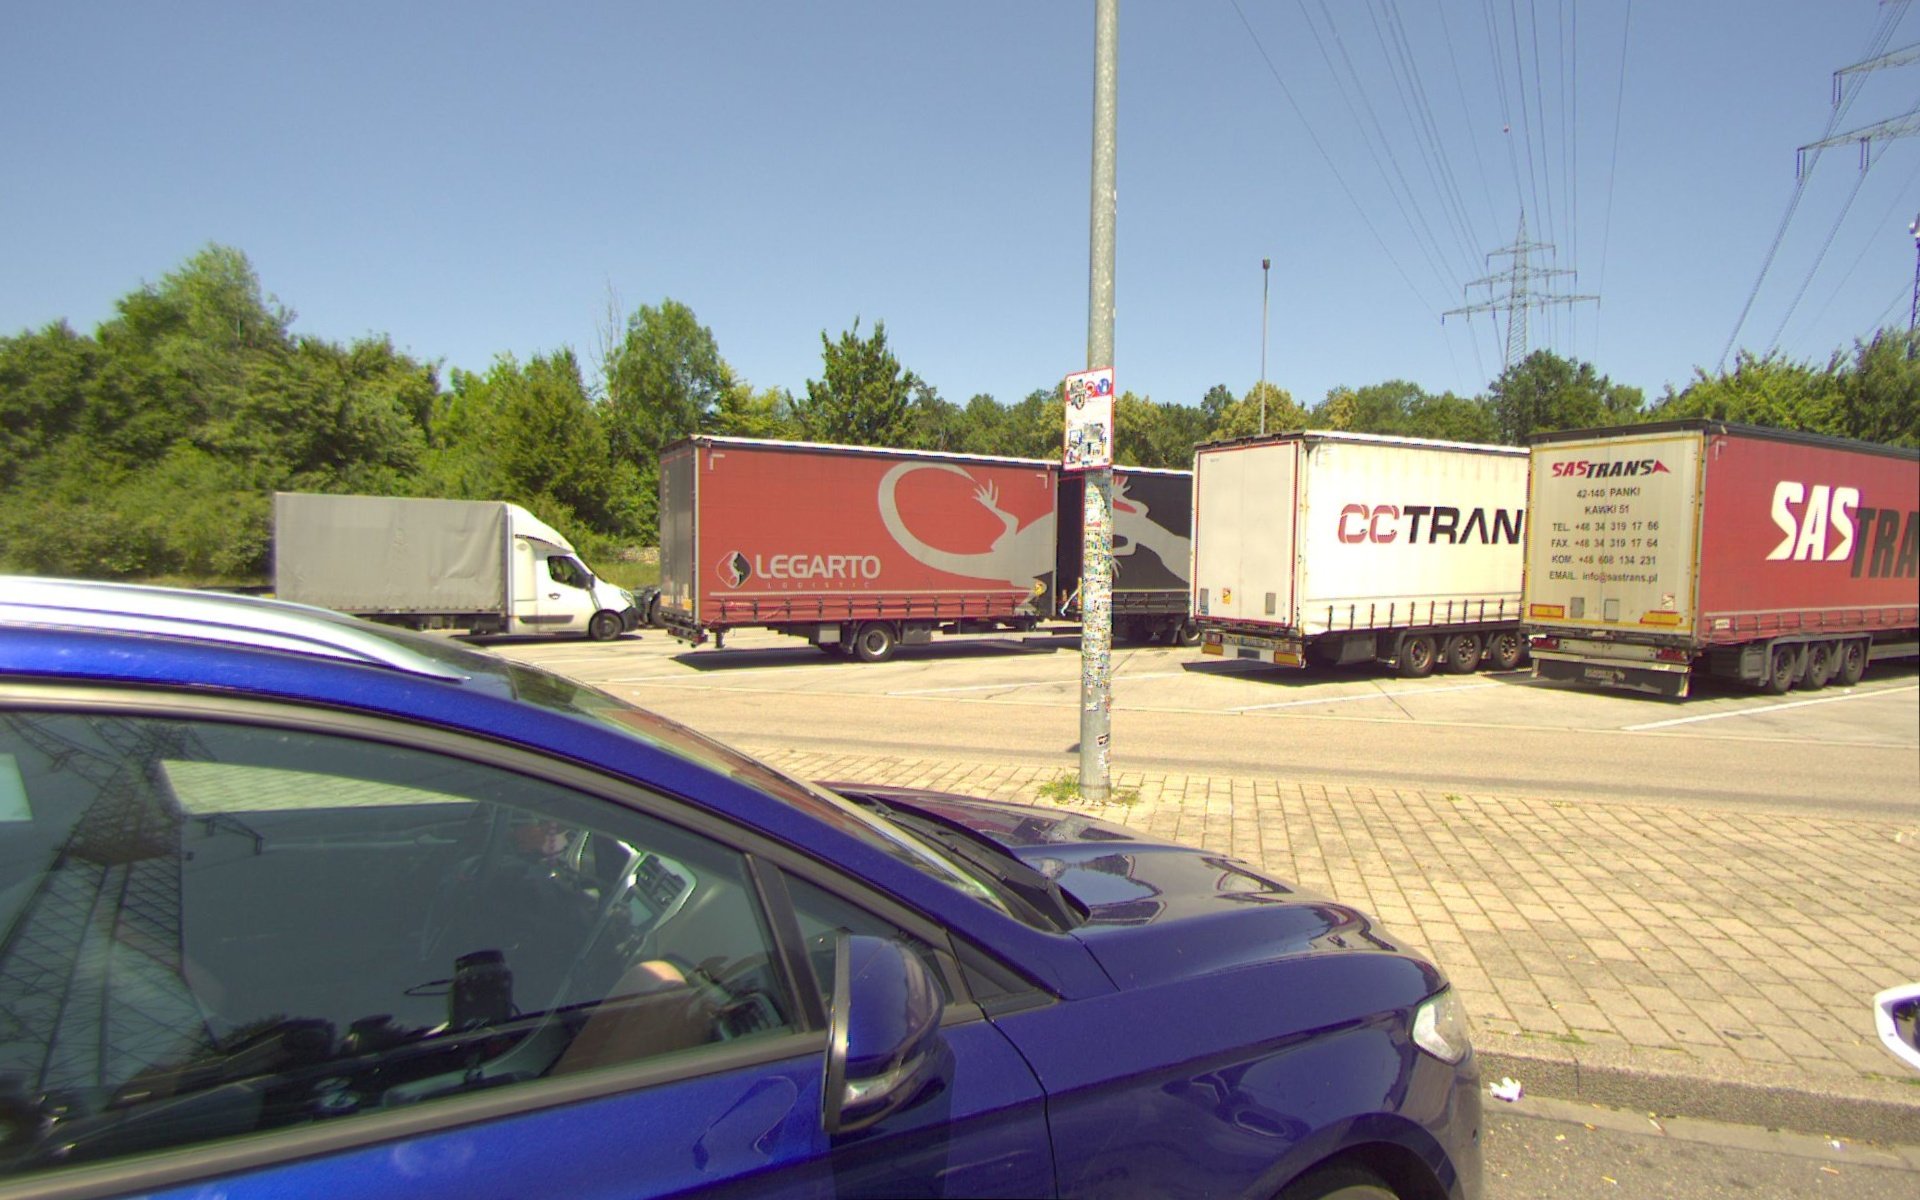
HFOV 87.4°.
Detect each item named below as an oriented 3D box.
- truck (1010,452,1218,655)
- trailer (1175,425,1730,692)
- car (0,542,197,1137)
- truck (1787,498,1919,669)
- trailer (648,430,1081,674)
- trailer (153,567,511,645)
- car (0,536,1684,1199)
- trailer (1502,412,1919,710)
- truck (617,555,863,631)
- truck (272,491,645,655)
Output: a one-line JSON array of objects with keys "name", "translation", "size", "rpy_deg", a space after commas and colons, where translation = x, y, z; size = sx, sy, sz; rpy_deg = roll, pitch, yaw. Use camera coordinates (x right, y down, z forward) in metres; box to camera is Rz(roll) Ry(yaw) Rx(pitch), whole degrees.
[{"name": "truck", "translation": [3.571, -1.071, 23.458], "size": [3.947, 4.298, 2.723], "rpy_deg": [-1, 3, -30]}, {"name": "trailer", "translation": [10.588, -0.805, 20.345], "size": [13.962, 4.141, 2.782], "rpy_deg": [-1, 3, -30]}, {"name": "car", "translation": [-4.610, 0.600, 2.235], "size": [4.444, 1.520, 1.762], "rpy_deg": [0, 2, -32]}, {"name": "truck", "translation": [21.211, -0.400, 22.011], "size": [5.829, 3.373, 2.837], "rpy_deg": [-1, 3, -30]}, {"name": "trailer", "translation": [-1.741, -0.904, 20.337], "size": [8.376, 4.141, 2.722], "rpy_deg": [-1, 3, -30]}, {"name": "trailer", "translation": [-15.163, 0.053, 24.902], "size": [7.204, 1.711, 2.249], "rpy_deg": [-1, 3, -29]}, {"name": "car", "translation": [-1.034, 0.677, 1.502], "size": [4.444, 1.511, 1.859], "rpy_deg": [0, 2, -32]}, {"name": "trailer", "translation": [15.608, -0.698, 18.734], "size": [13.962, 4.141, 2.777], "rpy_deg": [-1, 3, -30]}, {"name": "truck", "translation": [-6.345, -0.234, 29.283], "size": [6.733, 2.041, 1.987], "rpy_deg": [-1, 1, -26]}, {"name": "truck", "translation": [-11.188, -0.628, 23.033], "size": [7.204, 3.279, 2.727], "rpy_deg": [-1, 3, -29]}]
